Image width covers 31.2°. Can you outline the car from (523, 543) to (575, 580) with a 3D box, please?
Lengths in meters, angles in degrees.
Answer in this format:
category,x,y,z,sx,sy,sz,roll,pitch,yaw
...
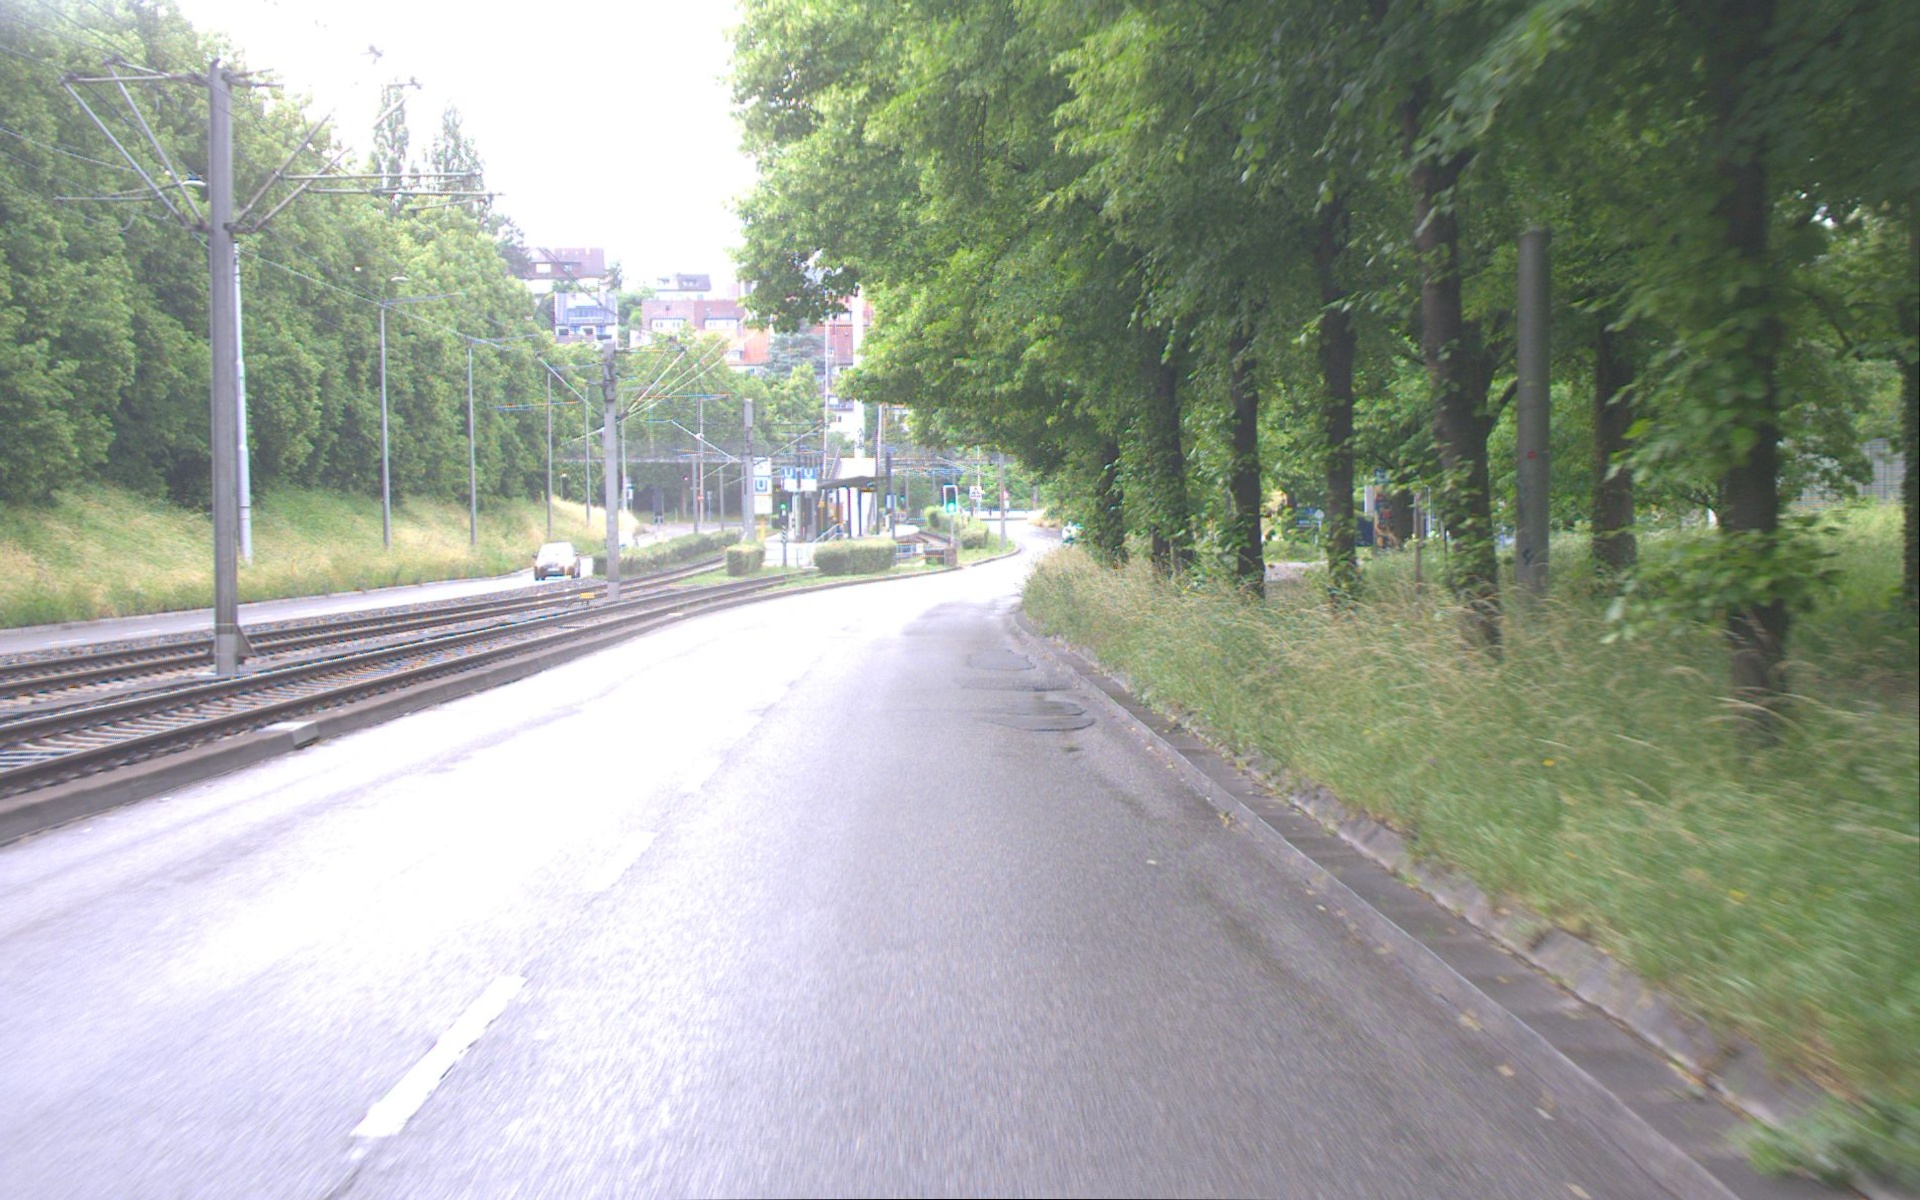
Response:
category,x,y,z,sx,sy,sz,roll,pitch,yaw
car,-16.858,-1.591,141.013,1.669,1.438,4.027,-3,1,-1
